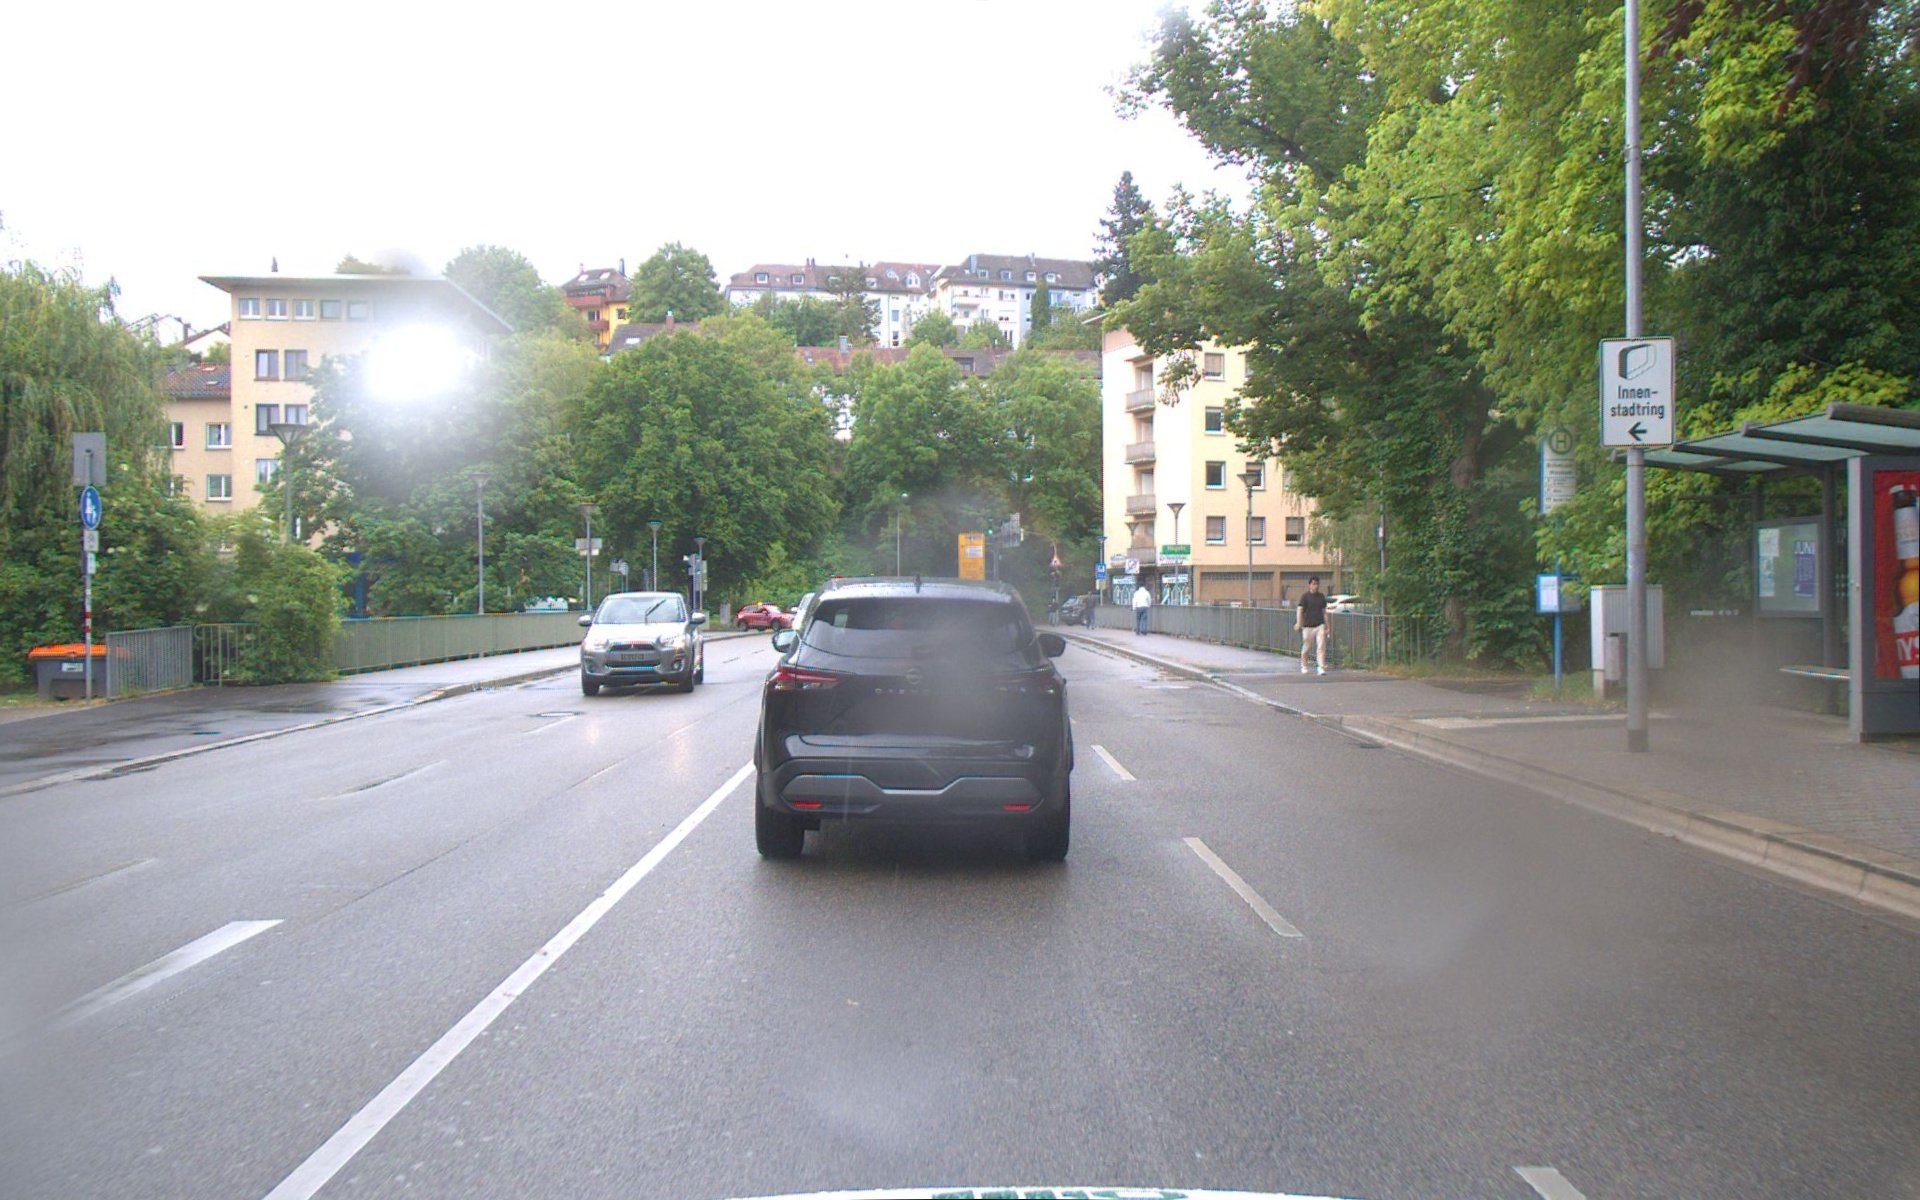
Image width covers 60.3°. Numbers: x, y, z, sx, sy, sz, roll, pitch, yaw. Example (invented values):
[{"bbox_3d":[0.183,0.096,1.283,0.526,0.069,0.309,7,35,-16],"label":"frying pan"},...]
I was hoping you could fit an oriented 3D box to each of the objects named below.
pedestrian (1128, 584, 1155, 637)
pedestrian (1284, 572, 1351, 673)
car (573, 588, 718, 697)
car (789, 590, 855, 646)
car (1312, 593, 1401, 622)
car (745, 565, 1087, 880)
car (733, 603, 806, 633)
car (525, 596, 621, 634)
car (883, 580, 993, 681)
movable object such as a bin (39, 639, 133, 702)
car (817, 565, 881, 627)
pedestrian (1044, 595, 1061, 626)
[{"bbox_3d":[6.225,0.355,56.875,0.764,1.783,1.060,-1,-1,-1],"label":"pedestrian"},{"bbox_3d":[6.285,0.397,29.108,0.830,1.705,1.167,-2,0,-1],"label":"pedestrian"},{"bbox_3d":[-5.135,0.638,27.539,1.777,1.606,4.229,-2,1,-3],"label":"car"},{"bbox_3d":[-3.973,0.481,48.177,1.746,1.499,4.164,-2,1,-3],"label":"car"},{"bbox_3d":[21.247,0.411,88.669,4.369,1.400,1.808,-1,2,-18],"label":"car"},{"bbox_3d":[-0.261,0.633,10.668,1.774,1.631,3.999,1,0,-1],"label":"car"},{"bbox_3d":[-11.698,1.099,101.636,4.281,1.765,1.889,-2,0,35],"label":"car"},{"bbox_3d":[-19.883,0.748,85.081,4.655,1.886,1.996,0,2,-10],"label":"car"},{"bbox_3d":[-0.389,0.493,29.167,1.774,1.631,3.999,1,0,-1],"label":"car"},{"bbox_3d":[-12.954,1.038,24.538,0.946,0.892,0.832,-1,-1,-1],"label":"movable object such as a bin"},{"bbox_3d":[-4.453,-0.203,67.549,2.243,2.349,6.507,-2,1,-1],"label":"car"},{"bbox_3d":[5.130,0.575,91.356,0.845,1.647,0.839,-2,-1,-1],"label":"pedestrian"}]
